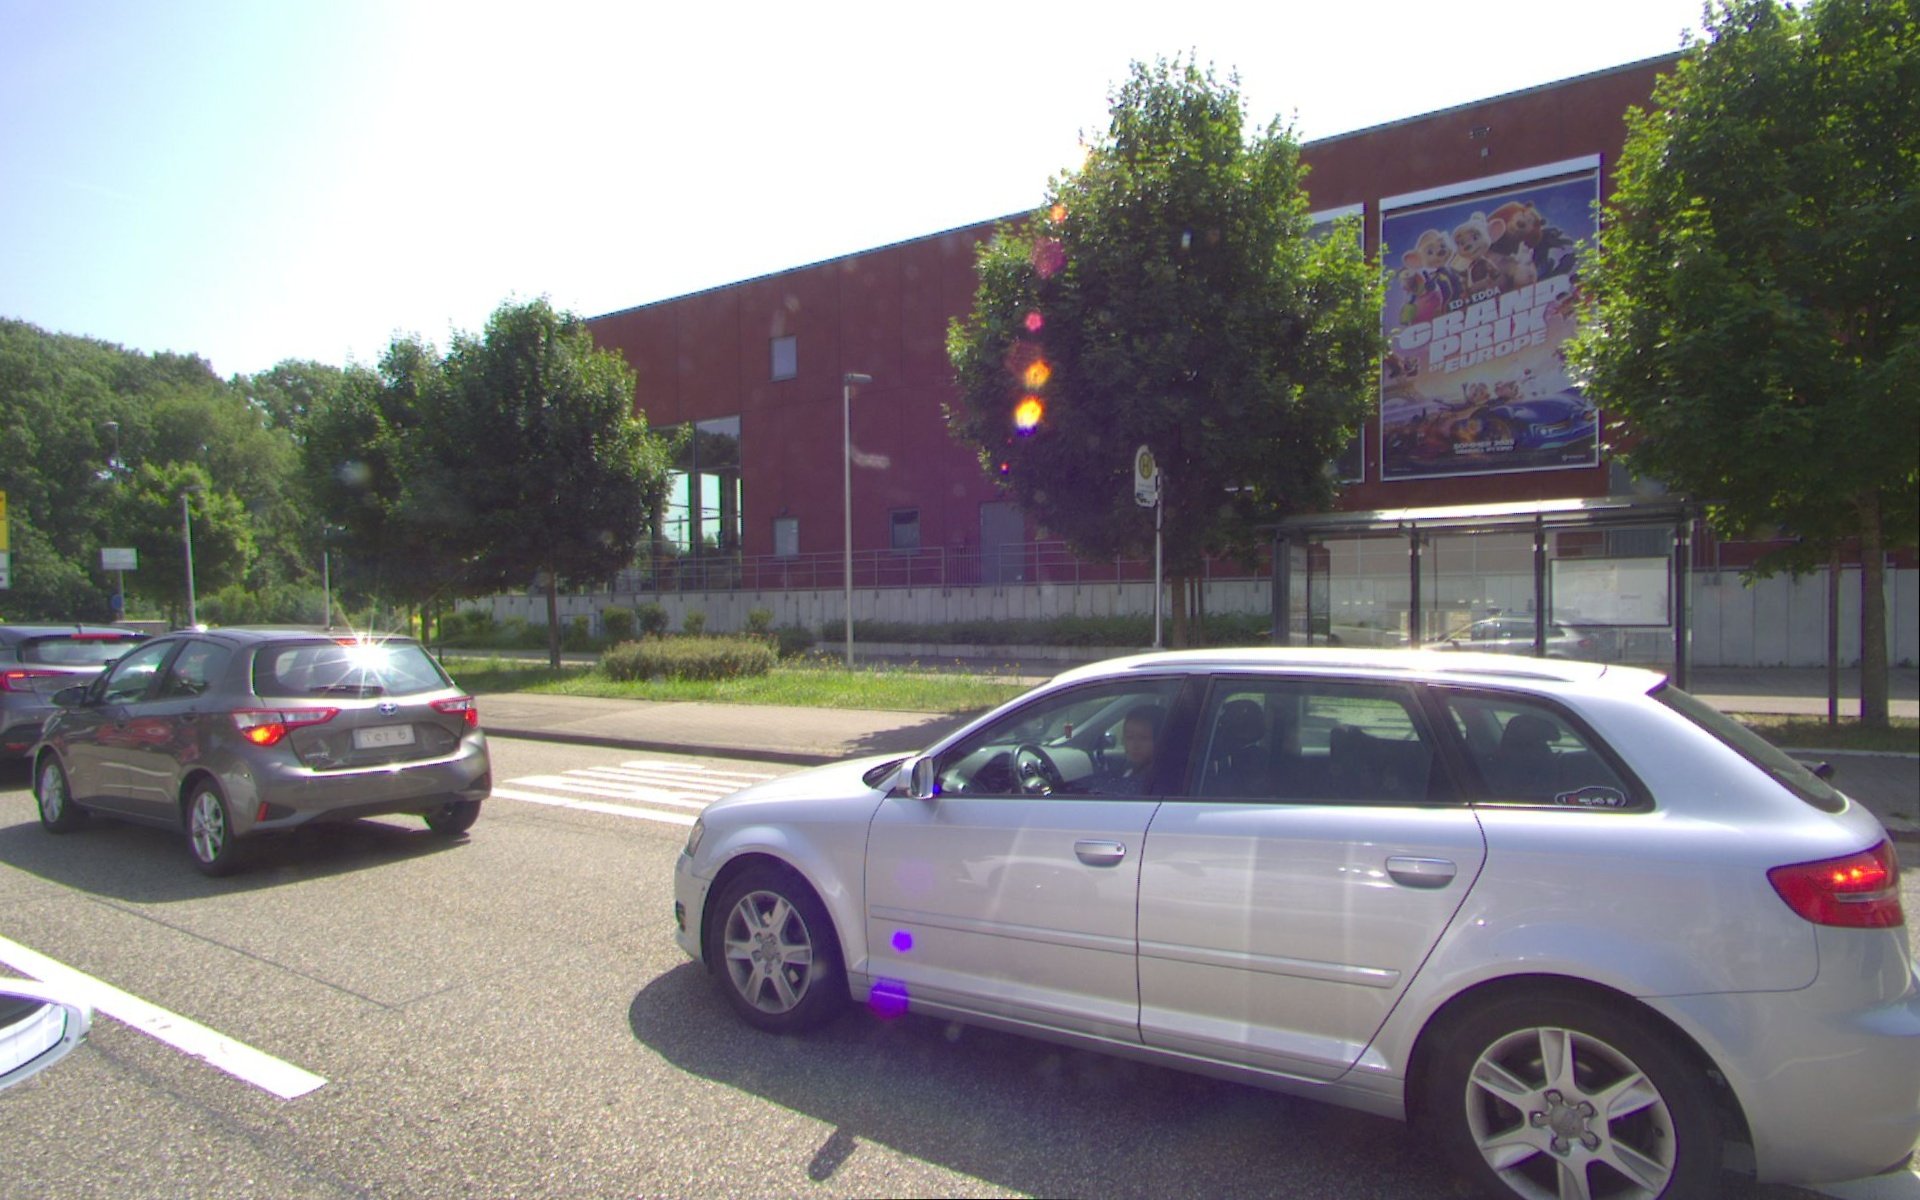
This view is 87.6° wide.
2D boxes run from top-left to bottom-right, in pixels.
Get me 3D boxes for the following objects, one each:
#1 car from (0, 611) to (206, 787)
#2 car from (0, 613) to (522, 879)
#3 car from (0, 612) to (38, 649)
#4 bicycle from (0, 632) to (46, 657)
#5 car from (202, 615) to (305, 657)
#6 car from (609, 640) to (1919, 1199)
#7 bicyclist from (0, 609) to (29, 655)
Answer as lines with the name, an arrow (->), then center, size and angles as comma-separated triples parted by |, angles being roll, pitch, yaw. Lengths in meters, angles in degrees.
car -> -10.105, 0.941, 10.848 | 4.031, 1.614, 1.709 | -1, -1, 31
car -> -5.308, 0.901, 7.437 | 4.031, 1.496, 1.711 | -1, -4, 31
car -> -42.109, 1.324, 42.197 | 1.772, 1.550, 4.461 | -1, 0, 33
bicycle -> -30.956, 1.452, 32.505 | 1.793, 0.776, 0.600 | -1, 1, -13
car -> -37.272, 1.869, 52.916 | 1.972, 2.040, 3.978 | 0, 0, 32
car -> 0.750, 0.857, 3.753 | 4.031, 1.379, 1.710 | -1, -2, 31
bicyclist -> -30.943, 1.034, 32.501 | 0.814, 1.458, 0.598 | -1, 1, -12
